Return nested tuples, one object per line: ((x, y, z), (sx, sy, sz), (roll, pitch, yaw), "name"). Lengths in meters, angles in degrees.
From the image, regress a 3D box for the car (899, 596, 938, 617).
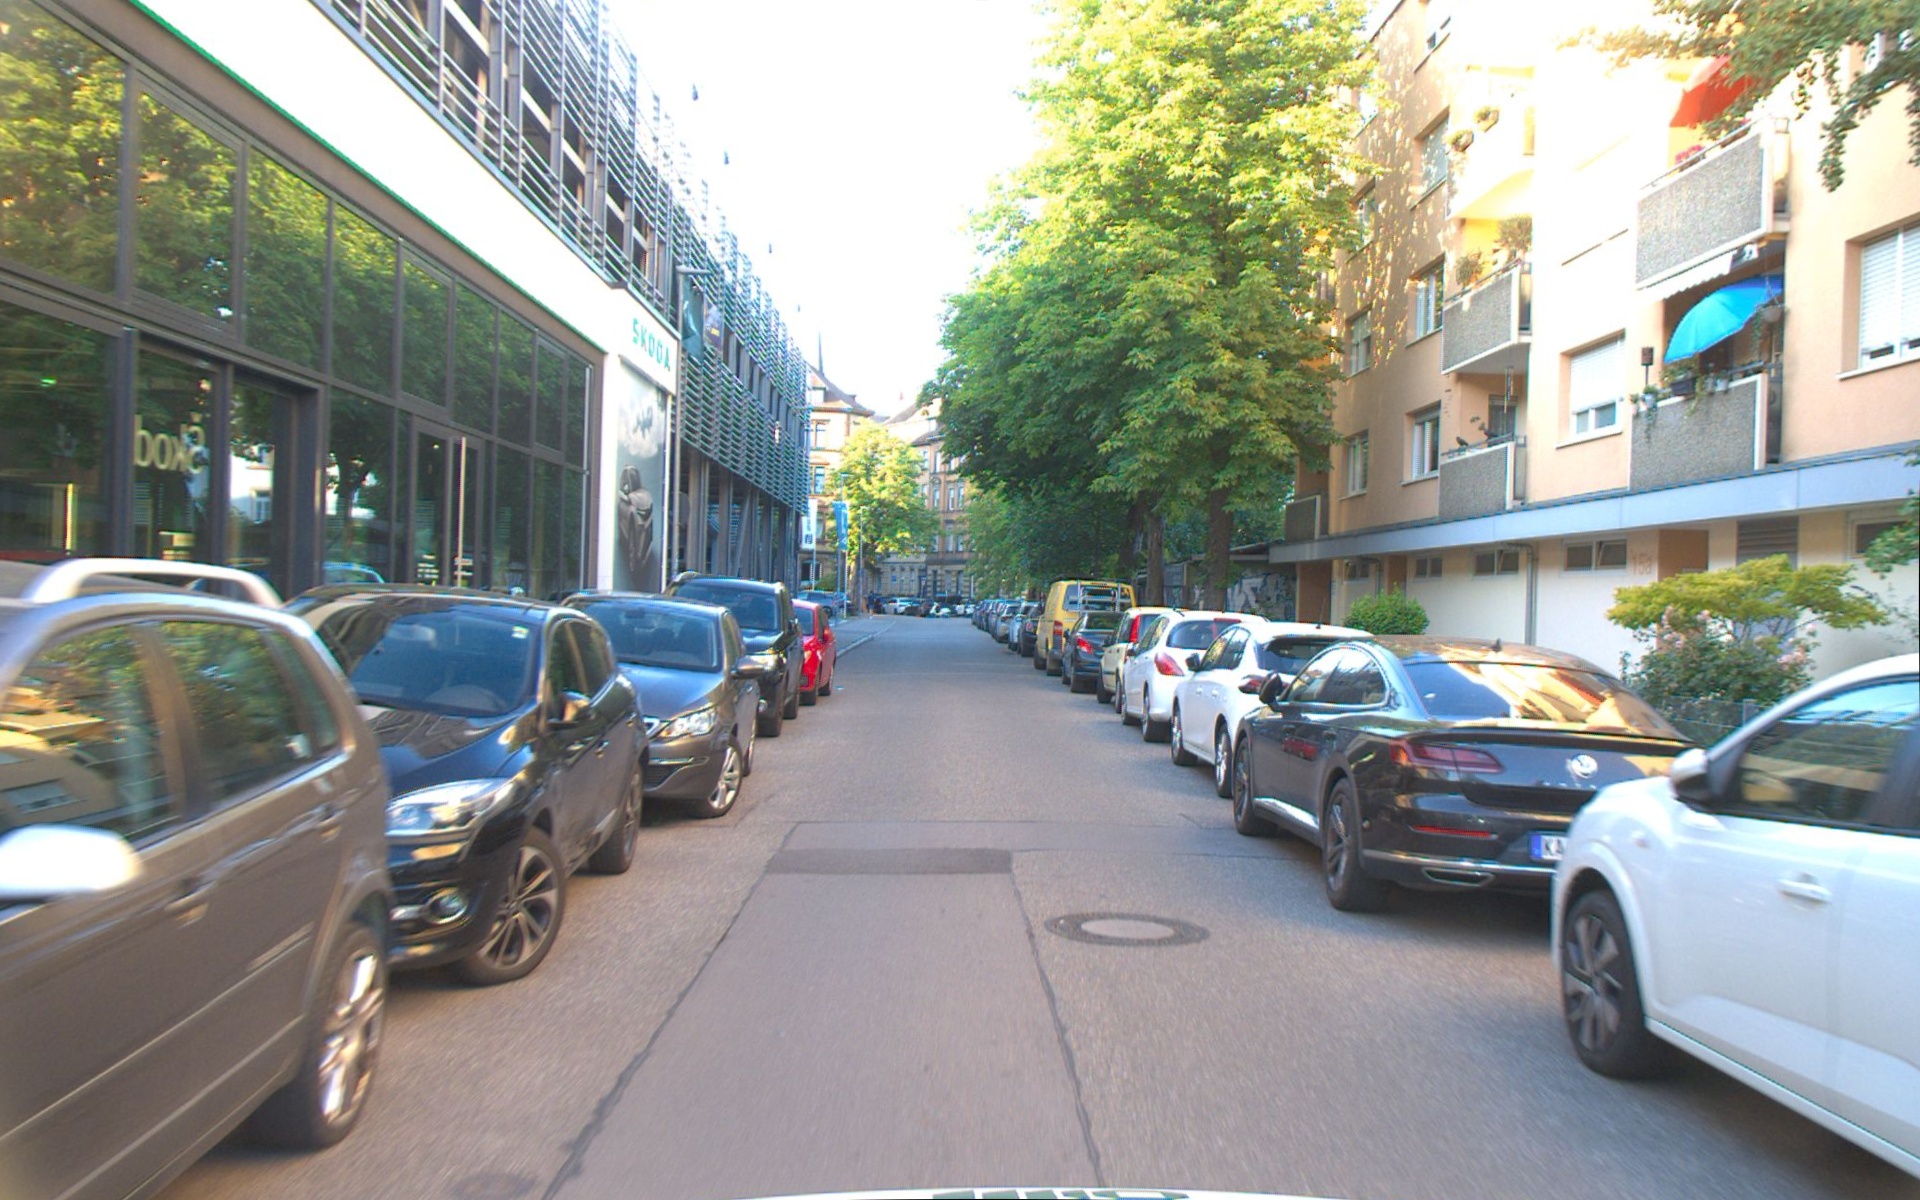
((-3.285, 0.501, 129.678), (1.633, 1.456, 3.960), (2, 1, -25), "car")

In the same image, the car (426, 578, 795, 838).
((-2.489, 0.679, 12.882), (1.897, 1.624, 4.205), (2, 1, 1), "car")

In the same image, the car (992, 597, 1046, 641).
((2.159, 0.668, 61.374), (1.723, 1.467, 4.005), (1, 1, -1), "car")

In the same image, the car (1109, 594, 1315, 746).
((2.932, 0.755, 20.087), (1.755, 1.590, 4.193), (1, 1, -1), "car")

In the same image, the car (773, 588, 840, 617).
((-9.507, 0.143, 102.670), (3.986, 1.646, 1.764), (2, 1, -3), "car")

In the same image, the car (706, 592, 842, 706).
((-2.708, 0.668, 24.756), (1.663, 1.532, 3.790), (1, 1, -1), "car")

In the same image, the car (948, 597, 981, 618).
((0.382, 0.619, 134.900), (1.653, 1.552, 2.745), (2, 1, -25), "car")

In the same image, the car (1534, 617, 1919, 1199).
((3.073, 0.824, 4.257), (1.773, 1.441, 3.895), (1, 1, -1), "car")

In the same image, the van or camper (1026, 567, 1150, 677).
((2.644, 0.401, 35.383), (2.022, 2.132, 5.089), (1, 1, -2), "van or camper")

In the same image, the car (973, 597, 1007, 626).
((1.613, 0.605, 89.318), (1.660, 1.502, 4.116), (1, 0, -1), "car")

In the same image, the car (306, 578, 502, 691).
((-8.114, 0.450, 24.471), (1.663, 1.499, 3.781), (1, 1, -1), "car")

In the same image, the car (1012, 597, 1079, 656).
((2.331, 0.693, 45.741), (1.531, 1.475, 3.453), (1, 1, -2), "car")

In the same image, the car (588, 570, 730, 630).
((-9.317, -0.026, 51.364), (4.019, 1.713, 1.860), (2, 1, 0), "car")

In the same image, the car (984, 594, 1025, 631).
((2.053, 0.575, 77.218), (1.723, 1.632, 3.873), (1, 0, -1), "car")

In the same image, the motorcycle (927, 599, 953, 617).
((-1.539, 0.620, 126.540), (1.897, 1.364, 0.576), (1, 1, -12), "motorcycle")

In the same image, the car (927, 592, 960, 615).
((-1.387, 0.308, 138.320), (1.653, 1.813, 2.991), (2, 1, -25), "car")

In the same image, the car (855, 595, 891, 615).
((-7.283, 0.387, 138.539), (1.633, 1.456, 3.866), (2, 1, -25), "car")

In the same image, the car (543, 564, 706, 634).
((-8.927, -0.039, 44.227), (3.943, 1.713, 1.860), (2, 1, 0), "car")

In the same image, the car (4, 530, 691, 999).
((-2.429, 0.552, 7.710), (1.695, 1.426, 4.005), (7, 0, -2), "car")

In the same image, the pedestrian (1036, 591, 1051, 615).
((6.536, 0.228, 129.382), (0.828, 1.835, 0.771), (1, 1, -22), "pedestrian")

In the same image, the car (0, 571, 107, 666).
((-14.088, 0.235, 24.361), (1.391, 1.277, 3.214), (1, 1, -1), "car")

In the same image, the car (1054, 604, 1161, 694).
((2.621, 0.837, 30.057), (1.573, 1.406, 4.000), (2, 1, 0), "car")

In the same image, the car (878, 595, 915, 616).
((-5.139, 0.445, 134.083), (1.632, 1.456, 4.138), (2, 1, -23), "car")

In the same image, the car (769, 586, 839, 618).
((-9.338, 0.135, 99.300), (4.047, 1.646, 1.912), (3, 1, -3), "car")

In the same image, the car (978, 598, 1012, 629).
((1.751, 0.666, 84.660), (1.564, 1.502, 3.773), (1, 0, -1), "car")

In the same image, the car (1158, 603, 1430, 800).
((2.910, 0.815, 15.228), (1.577, 1.487, 4.053), (1, 1, -1), "car")

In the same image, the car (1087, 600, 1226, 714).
((2.896, 0.805, 24.995), (1.577, 1.537, 3.477), (1, 1, -1), "car")

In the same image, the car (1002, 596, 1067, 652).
((2.262, 0.709, 51.022), (1.687, 1.546, 4.025), (1, 1, -2), "car")

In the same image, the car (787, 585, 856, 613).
((-9.914, -0.072, 118.239), (4.738, 1.762, 1.918), (2, 1, -7), "car")

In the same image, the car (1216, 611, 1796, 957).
((2.811, 0.844, 9.730), (1.773, 1.441, 4.624), (1, 1, -1), "car")

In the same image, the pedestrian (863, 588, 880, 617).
((-5.772, 0.135, 107.730), (0.725, 1.835, 1.115), (1, 1, -21), "pedestrian")

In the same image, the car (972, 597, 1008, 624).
((1.703, 0.587, 93.843), (1.662, 1.502, 3.556), (1, 0, -5), "car")

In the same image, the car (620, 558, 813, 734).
((-2.720, 0.460, 19.363), (1.663, 1.786, 4.402), (1, 1, -1), "car")

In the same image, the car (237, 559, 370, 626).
((-13.664, -0.180, 34.592), (1.391, 1.277, 3.526), (1, 1, -1), "car")

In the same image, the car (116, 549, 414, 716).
((-7.906, 0.314, 19.299), (1.663, 1.687, 4.408), (1, 1, -1), "car")

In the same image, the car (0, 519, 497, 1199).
((-2.318, 0.607, 3.173), (1.629, 1.522, 3.884), (7, 0, 0), "car")

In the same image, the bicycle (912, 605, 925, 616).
((-3.110, 0.787, 124.339), (0.416, 0.836, 1.462), (2, 1, 21), "bicycle")

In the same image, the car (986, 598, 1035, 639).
((2.009, 0.719, 66.362), (1.723, 1.480, 4.392), (1, 1, -1), "car")

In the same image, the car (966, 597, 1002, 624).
((1.422, 0.604, 98.244), (1.662, 1.502, 4.207), (1, 0, -6), "car")
